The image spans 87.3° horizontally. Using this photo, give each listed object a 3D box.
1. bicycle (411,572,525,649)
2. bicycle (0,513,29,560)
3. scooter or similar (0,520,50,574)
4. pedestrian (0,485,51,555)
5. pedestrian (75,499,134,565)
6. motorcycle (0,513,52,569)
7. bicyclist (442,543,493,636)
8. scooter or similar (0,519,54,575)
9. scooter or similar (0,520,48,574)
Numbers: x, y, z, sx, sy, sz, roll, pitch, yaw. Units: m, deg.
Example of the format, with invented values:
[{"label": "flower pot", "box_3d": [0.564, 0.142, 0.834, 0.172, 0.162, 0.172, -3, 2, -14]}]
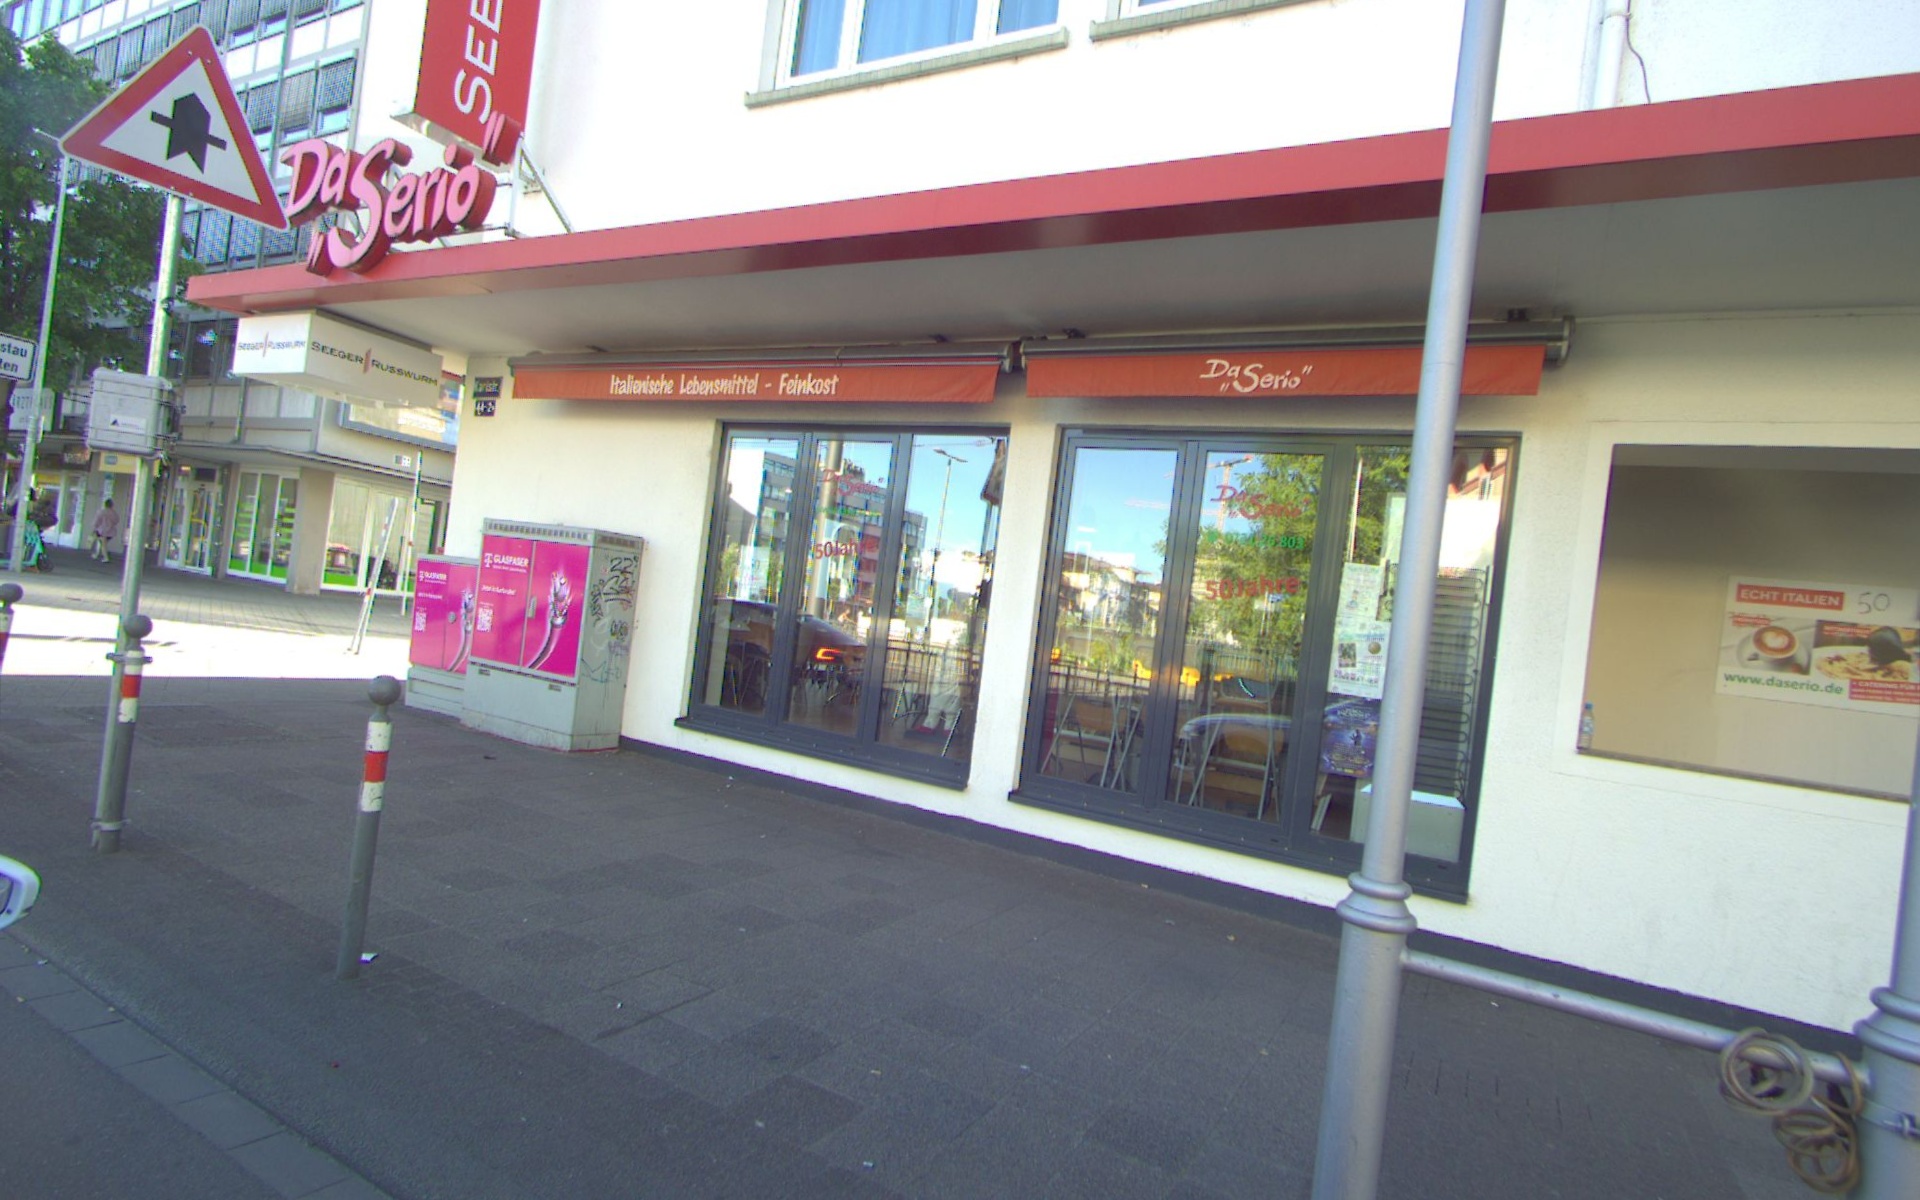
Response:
[{"label": "bicycle", "box_3d": [-9.297, 0.205, 19.077, 1.804, 1.226, 0.579, 8, -1, -25]}, {"label": "bicycle", "box_3d": [-23.190, -1.582, 23.663, 0.392, 1.069, 1.856, 7, 0, 21]}, {"label": "scooter or similar", "box_3d": [-19.860, -1.121, 21.181, 0.157, 1.051, 0.957, 7, -1, 34]}, {"label": "pedestrian", "box_3d": [-25.250, -2.150, 27.032, 0.865, 1.727, 0.844, 6, -1, 31]}, {"label": "pedestrian", "box_3d": [-23.178, -1.850, 27.250, 0.865, 1.621, 0.844, 6, -1, 31]}, {"label": "motorcycle", "box_3d": [-21.544, -1.387, 22.408, 0.495, 1.142, 1.791, 7, -2, 29]}, {"label": "bicyclist", "box_3d": [-9.318, -0.196, 19.056, 0.675, 1.650, 0.575, 8, -1, -25]}, {"label": "scooter or similar", "box_3d": [-19.698, -1.116, 21.071, 0.157, 1.056, 0.964, 7, -1, 34]}, {"label": "scooter or similar", "box_3d": [-20.024, -1.129, 21.291, 0.157, 1.039, 0.964, 7, -1, 34]}]
